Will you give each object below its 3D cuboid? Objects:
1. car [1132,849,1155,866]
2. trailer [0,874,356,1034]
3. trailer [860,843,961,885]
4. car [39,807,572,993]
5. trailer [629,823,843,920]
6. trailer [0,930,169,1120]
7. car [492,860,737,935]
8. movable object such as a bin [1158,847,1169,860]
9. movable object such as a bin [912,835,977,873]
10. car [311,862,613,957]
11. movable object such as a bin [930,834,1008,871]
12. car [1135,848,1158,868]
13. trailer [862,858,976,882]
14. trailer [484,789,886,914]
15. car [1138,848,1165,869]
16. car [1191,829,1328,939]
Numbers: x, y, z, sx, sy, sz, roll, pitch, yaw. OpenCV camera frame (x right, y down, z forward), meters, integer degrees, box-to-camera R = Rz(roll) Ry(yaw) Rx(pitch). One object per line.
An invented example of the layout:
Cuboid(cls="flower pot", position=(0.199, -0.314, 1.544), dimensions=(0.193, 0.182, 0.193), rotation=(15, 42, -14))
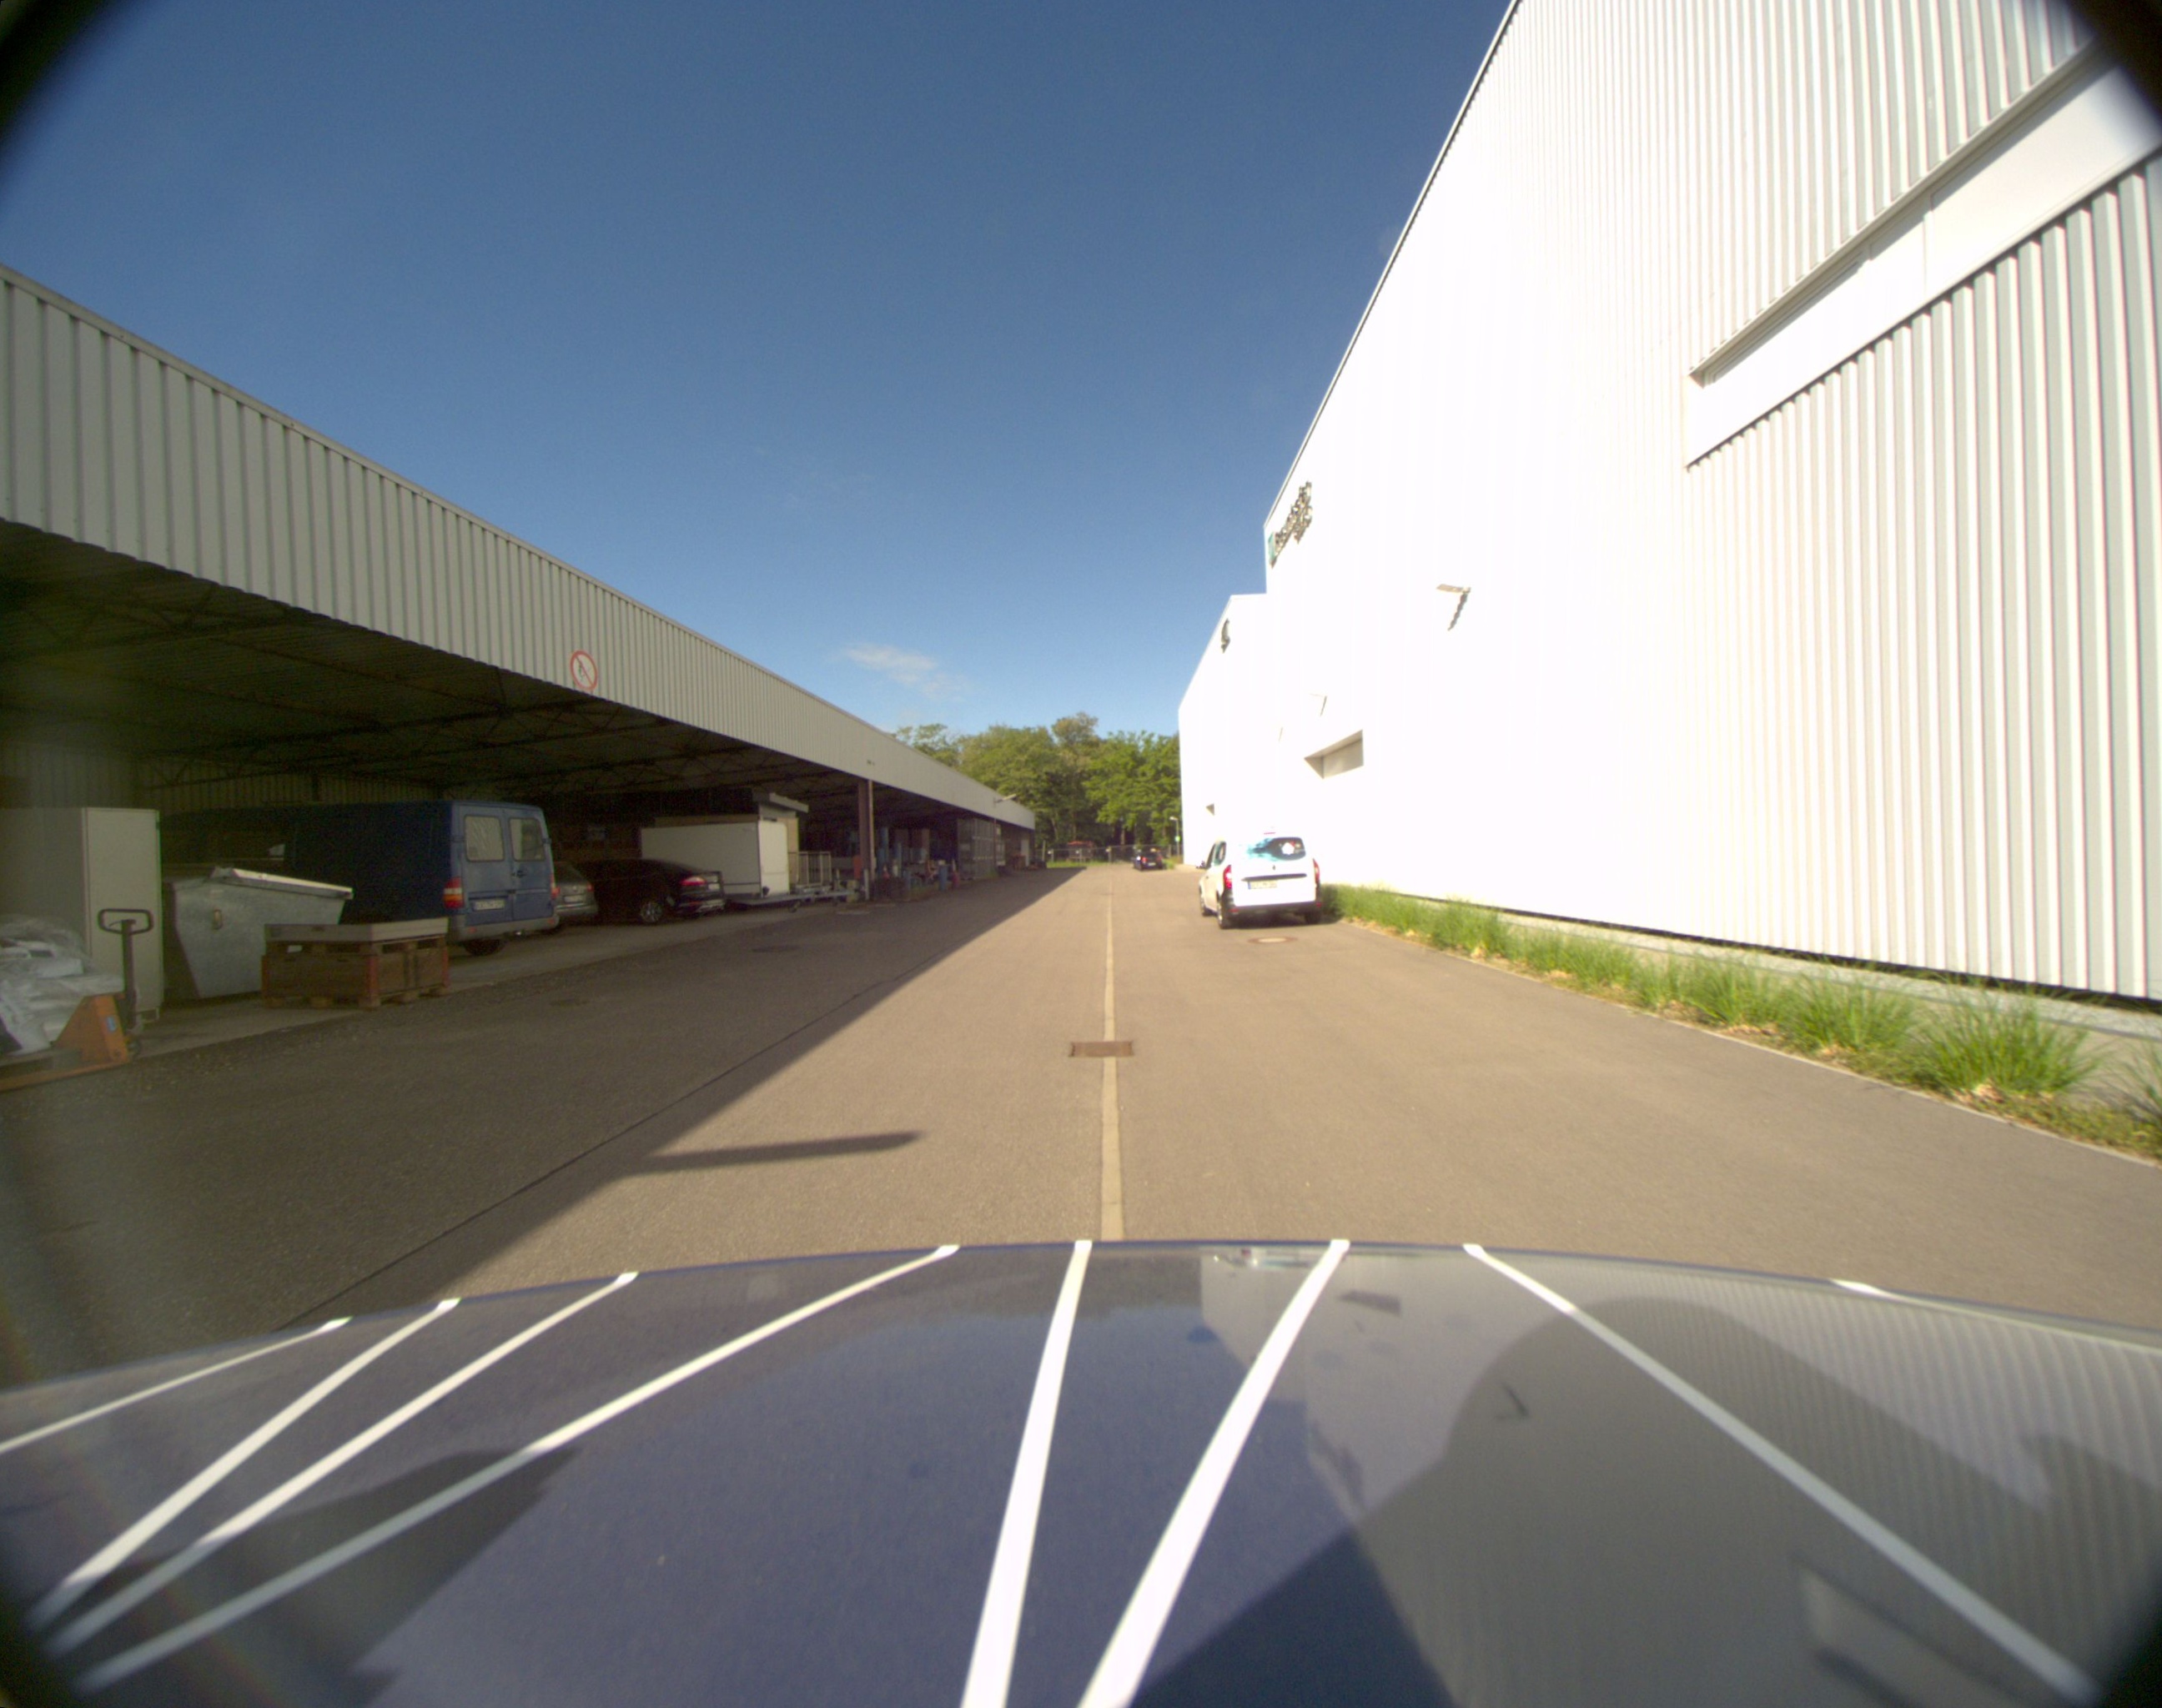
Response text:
Cuboid(cls="car", position=(5.608, 0.327, 68.533), dimensions=(1.715, 1.440, 3.798), rotation=(-4, 0, 1))
Cuboid(cls="trailer", position=(-9.618, 0.975, 8.136), dimensions=(2.042, 1.458, 1.739), rotation=(0, 1, 6))
Cuboid(cls="trailer", position=(-8.445, 0.463, 37.847), dimensions=(4.433, 1.979, 2.163), rotation=(0, 1, 4))
Cuboid(cls="car", position=(-10.646, 0.581, 10.787), dimensions=(5.345, 2.268, 2.152), rotation=(-1, 1, 2))
Cuboid(cls="trailer", position=(-8.721, 0.425, 19.509), dimensions=(4.526, 2.329, 2.047), rotation=(0, 1, 3))
Cuboid(cls="trailer", position=(-7.146, 1.137, 4.924), dimensions=(0.553, 1.112, 1.547), rotation=(0, 1, 0))
Cuboid(cls="car", position=(-10.296, 0.930, 17.025), dimensions=(4.259, 1.463, 1.869), rotation=(-1, 0, -1))
Cuboid(cls="movable object such as a bin", position=(9.128, -0.094, 84.154), dimensions=(1.140, 1.426, 1.289), rotation=(0, 1, 3))
Cuboid(cls="movable object such as a bin", position=(-10.656, -0.027, 59.638), dimensions=(4.537, 2.814, 2.497), rotation=(-1, 0, 3))
Cuboid(cls="car", position=(-11.192, 0.961, 13.974), dimensions=(3.974, 1.505, 1.840), rotation=(-1, 1, -1))
Cuboid(cls="movable object such as a bin", position=(-9.176, -0.124, 62.855), dimensions=(5.847, 2.908, 2.821), rotation=(-1, 1, 3))
Cuboid(cls="car", position=(5.438, 0.312, 63.024), dimensions=(1.551, 1.480, 3.522), rotation=(-4, 0, 1))
Cuboid(cls="trailer", position=(-8.715, 0.861, 41.207), dimensions=(5.742, 1.178, 1.974), rotation=(0, 1, 1))
Cuboid(cls="trailer", position=(-11.204, -0.065, 22.103), dimensions=(10.292, 3.324, 2.801), rotation=(0, 1, 3))
Cuboid(cls="car", position=(5.386, 0.362, 58.277), dimensions=(1.760, 1.437, 4.315), rotation=(-4, 0, 3))
Cuboid(cls="car", position=(3.413, 0.485, 15.412), dimensions=(1.788, 1.805, 4.601), rotation=(-3, 1, 2))
